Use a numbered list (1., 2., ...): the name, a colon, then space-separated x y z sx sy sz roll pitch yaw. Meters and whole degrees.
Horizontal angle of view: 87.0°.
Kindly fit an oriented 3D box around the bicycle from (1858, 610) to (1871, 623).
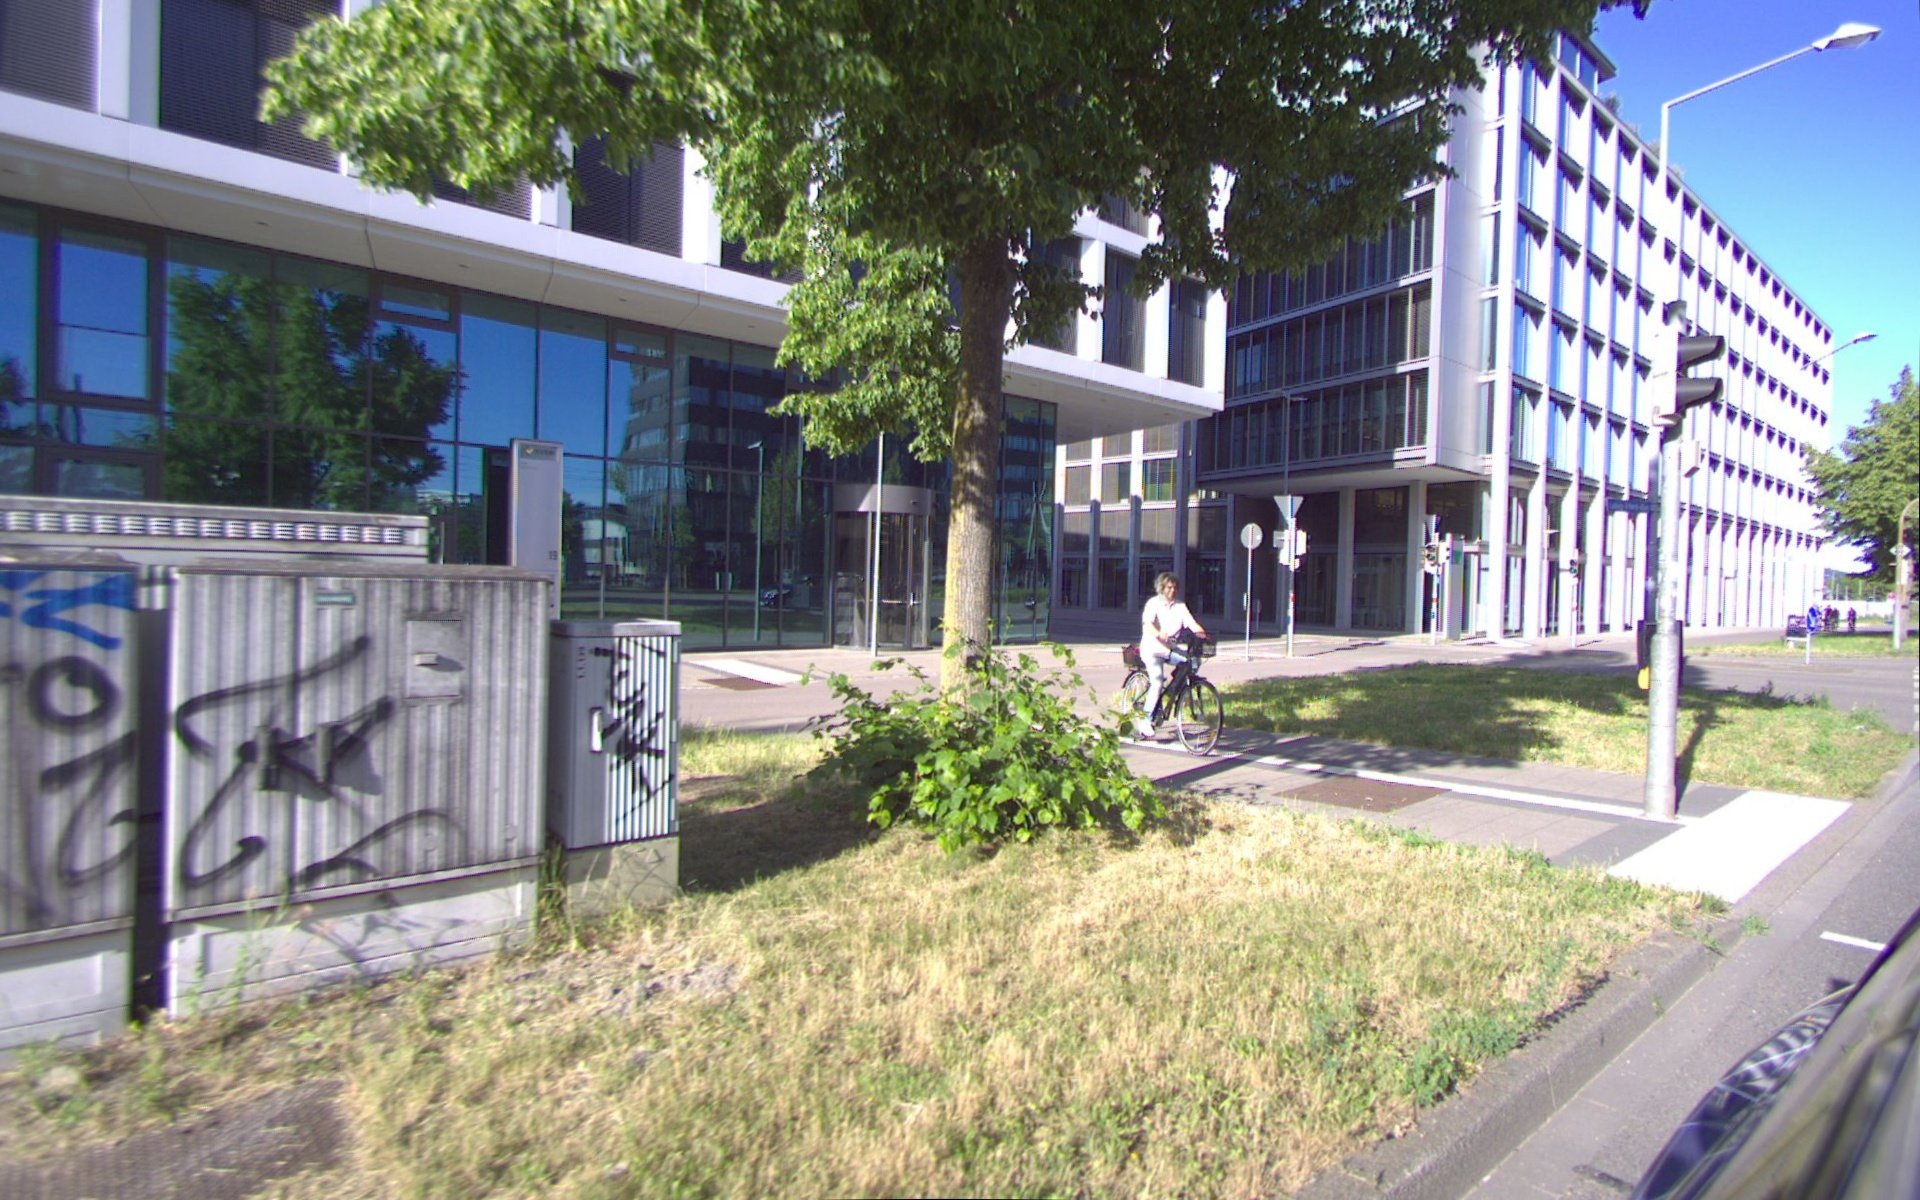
1. bicycle: 58.668 1.074 65.635 1.321 0.828 0.464 0 1 -40

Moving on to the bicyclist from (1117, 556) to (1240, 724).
1. bicyclist: 2.130 0.361 9.918 0.758 1.550 0.851 1 1 -30

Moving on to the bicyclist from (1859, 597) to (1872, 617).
1. bicyclist: 58.767 0.460 65.681 0.511 1.305 0.534 0 0 -39

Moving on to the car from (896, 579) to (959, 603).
1. car: -2.173 -0.625 68.494 3.918 1.523 1.663 1 1 -28

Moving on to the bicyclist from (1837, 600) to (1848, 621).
1. bicyclist: 55.723 0.654 63.897 0.410 1.305 0.448 0 0 -39

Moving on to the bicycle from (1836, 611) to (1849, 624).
1. bicycle: 55.752 1.094 63.936 1.296 0.828 0.415 0 1 -40

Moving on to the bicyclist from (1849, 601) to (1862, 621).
1. bicyclist: 56.319 0.674 63.625 0.498 1.232 0.534 0 1 -39

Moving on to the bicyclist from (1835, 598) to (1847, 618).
1. bicyclist: 58.054 0.551 66.694 0.449 1.305 0.534 0 0 -39

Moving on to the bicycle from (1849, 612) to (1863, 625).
1. bicycle: 56.419 1.160 63.718 1.321 0.828 0.464 0 1 -40

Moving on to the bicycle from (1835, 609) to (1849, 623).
1. bicycle: 58.176 1.050 66.766 1.321 0.828 0.464 0 1 -40

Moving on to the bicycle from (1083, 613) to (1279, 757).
1. bicycle: 2.109 0.761 9.949 0.729 1.188 1.963 1 1 -30
